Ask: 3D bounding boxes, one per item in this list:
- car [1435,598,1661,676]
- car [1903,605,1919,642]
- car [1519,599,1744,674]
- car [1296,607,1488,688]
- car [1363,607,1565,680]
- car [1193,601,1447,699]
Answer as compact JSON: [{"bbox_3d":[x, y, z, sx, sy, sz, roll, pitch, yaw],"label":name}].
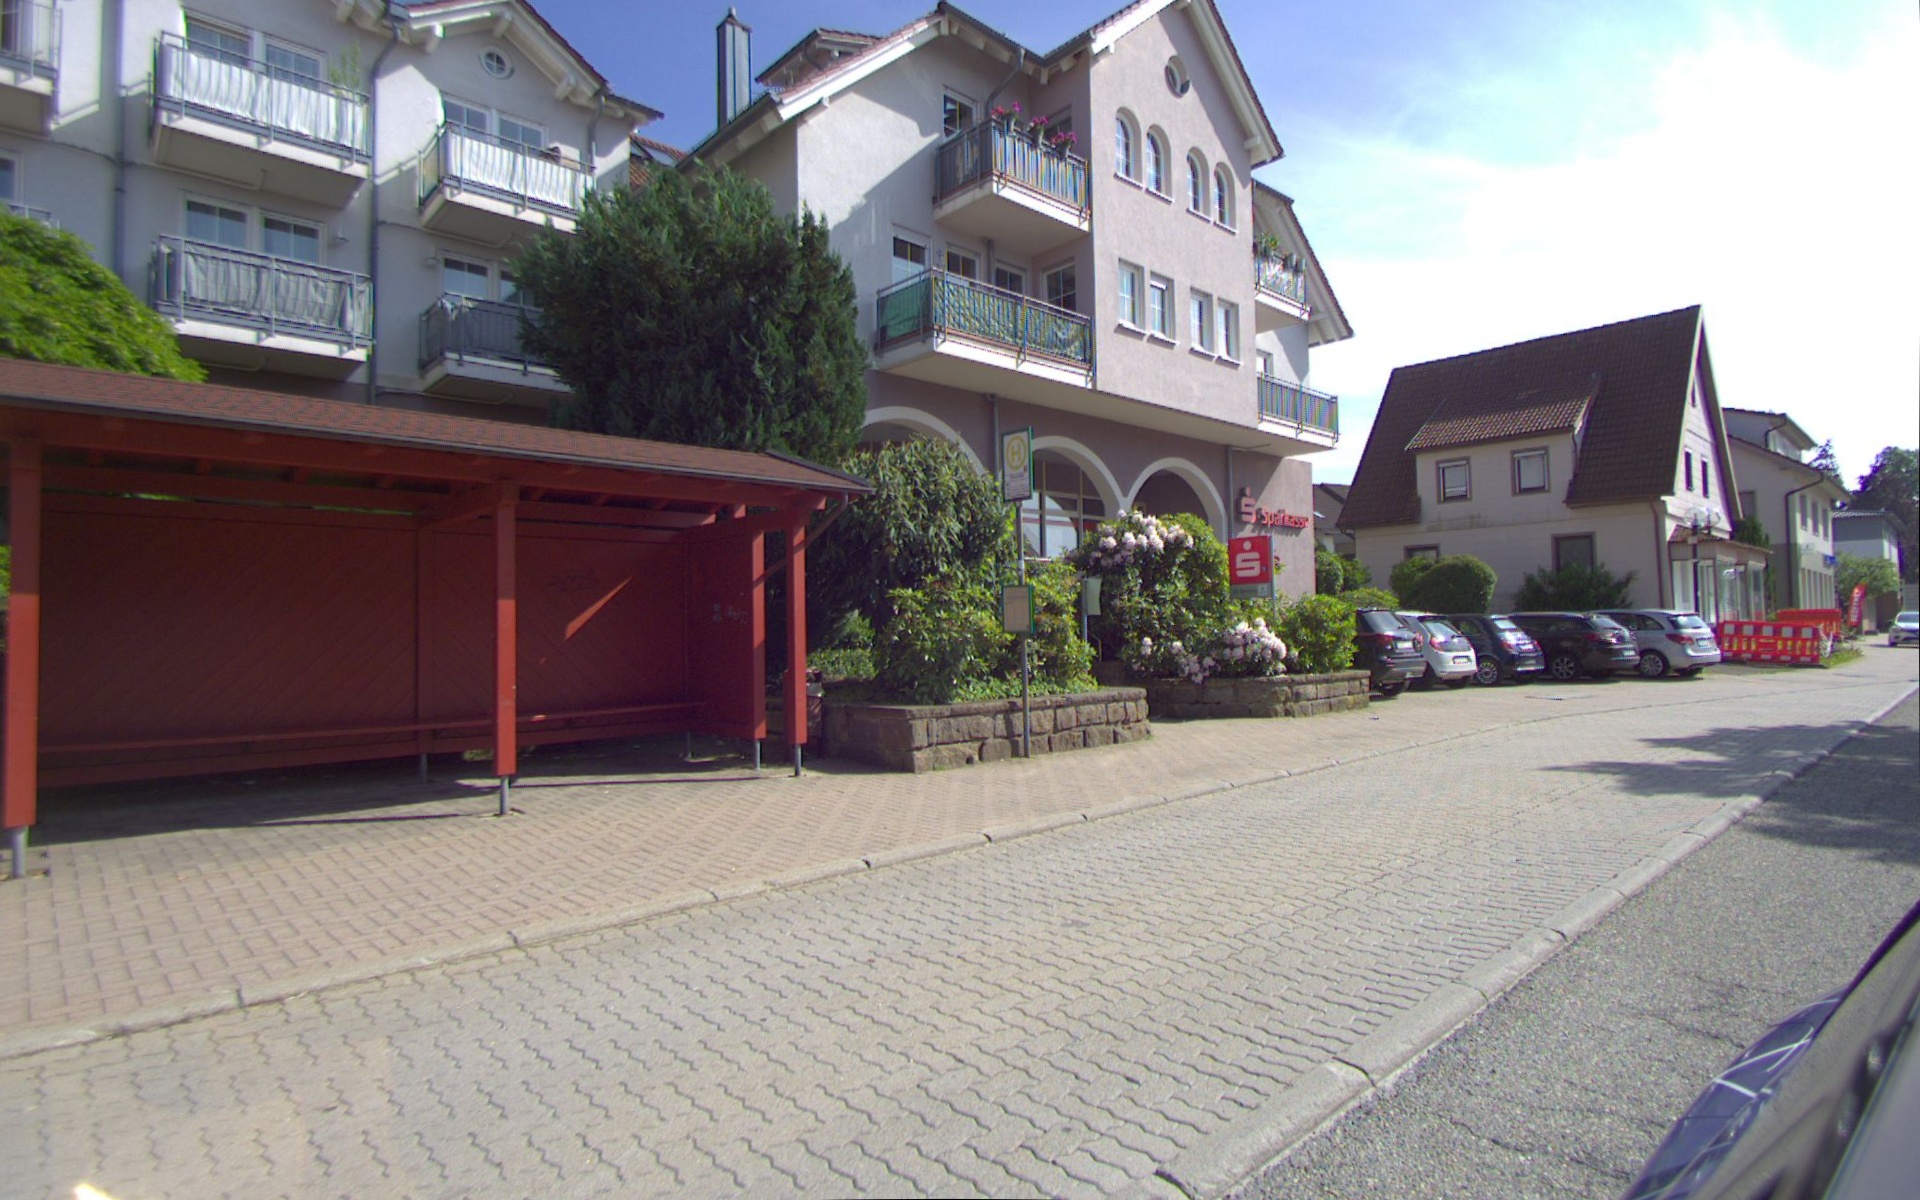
[{"bbox_3d":[13.008,0.842,22.628,1.704,1.569,4.000,0,-3,-32],"label":"car"},{"bbox_3d":[39.538,0.920,41.140,1.634,1.438,3.876,-1,-1,42],"label":"car"},{"bbox_3d":[15.436,0.802,23.463,1.924,1.578,3.877,0,-1,-30],"label":"car"},{"bbox_3d":[8.679,0.896,20.521,1.597,1.487,3.243,0,0,-35],"label":"car"},{"bbox_3d":[10.770,0.923,21.840,1.552,1.436,3.568,0,-2,-35],"label":"car"},{"bbox_3d":[6.471,0.828,18.531,1.847,1.568,3.994,0,-1,-40],"label":"car"}]
